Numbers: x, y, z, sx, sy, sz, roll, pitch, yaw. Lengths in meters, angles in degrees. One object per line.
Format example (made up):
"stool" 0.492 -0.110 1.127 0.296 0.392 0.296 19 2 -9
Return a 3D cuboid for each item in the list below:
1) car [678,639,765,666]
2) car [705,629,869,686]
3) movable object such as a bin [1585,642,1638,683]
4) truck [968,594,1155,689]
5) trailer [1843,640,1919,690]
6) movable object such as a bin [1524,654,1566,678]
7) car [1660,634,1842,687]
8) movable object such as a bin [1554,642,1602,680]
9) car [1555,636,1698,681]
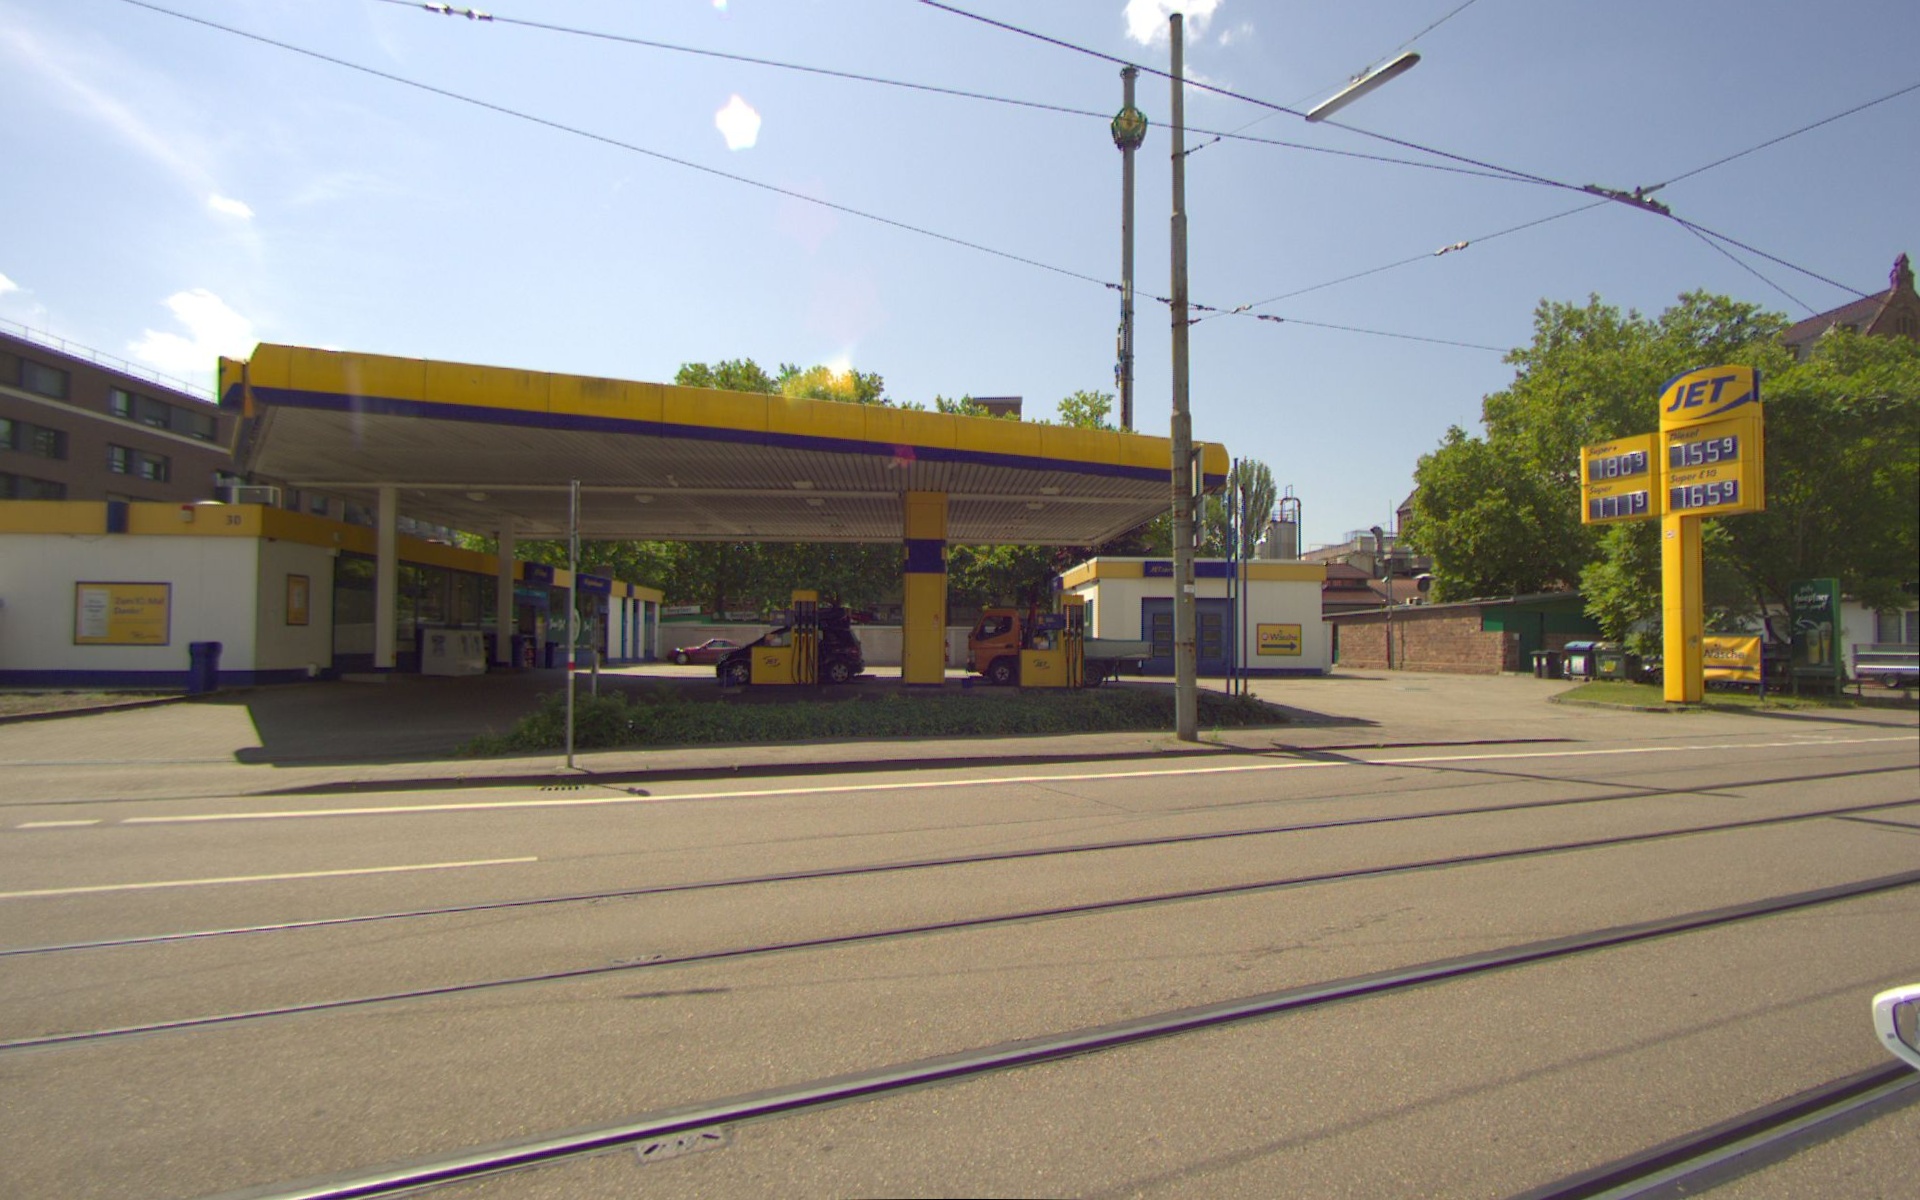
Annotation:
"car" -11.615 2.556 49.090 3.926 1.226 1.757 1 -2 -7
"car" -4.814 1.609 28.412 4.255 1.498 2.001 0 -2 2
"movable object such as a bin" 22.677 2.166 34.975 0.749 1.372 1.339 2 -2 -28
"truck" 2.858 1.171 28.706 5.099 2.530 2.001 1 -2 4
"trailer" 33.726 2.308 35.931 1.599 1.726 2.821 2 -2 -26
"movable object such as a bin" 22.473 2.541 38.631 0.744 0.885 1.347 1 -2 -7
"car" 25.903 1.954 33.074 4.247 1.611 2.001 0 -2 18
"movable object such as a bin" 22.516 2.218 36.599 0.745 1.372 1.345 1 -2 -15
"car" 25.693 2.230 38.895 4.248 1.613 1.910 0 -2 21
